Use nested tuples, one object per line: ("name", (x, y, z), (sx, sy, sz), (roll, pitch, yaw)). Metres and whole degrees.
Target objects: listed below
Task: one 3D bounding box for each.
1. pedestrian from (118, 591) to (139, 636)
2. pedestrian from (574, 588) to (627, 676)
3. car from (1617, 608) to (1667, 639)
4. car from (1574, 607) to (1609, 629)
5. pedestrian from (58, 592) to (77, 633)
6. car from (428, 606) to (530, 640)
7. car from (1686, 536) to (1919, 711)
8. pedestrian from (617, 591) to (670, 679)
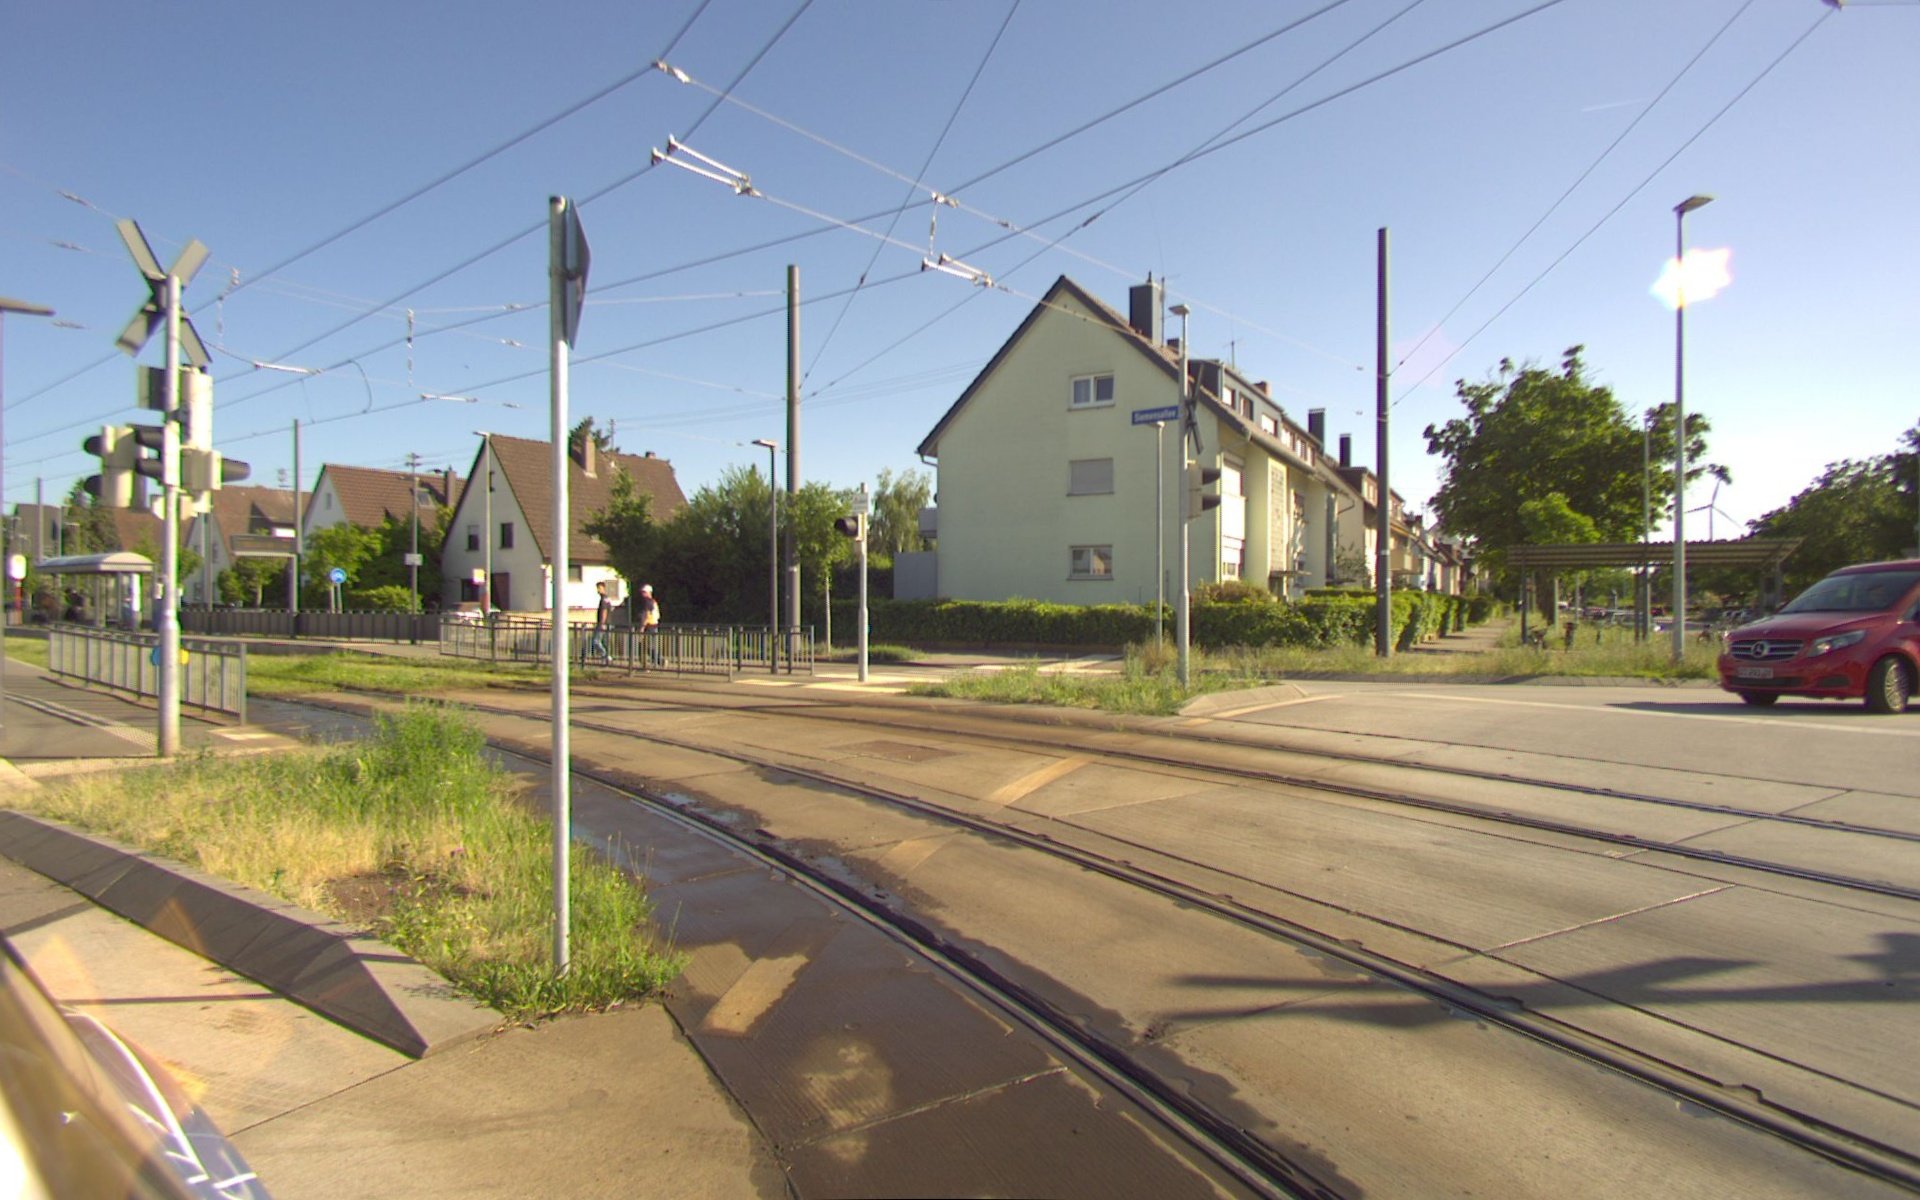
("pedestrian", (-32.686, 0.529, 39.777), (0.613, 1.766, 0.442), (0, -1, -35))
("pedestrian", (-7.535, 0.647, 21.216), (0.817, 1.783, 0.687), (1, 2, 11))
("car", (34.239, 1.156, 50.866), (1.820, 1.403, 3.751), (0, 1, 30))
("car", (41.161, 1.155, 66.065), (1.820, 1.403, 3.828), (0, -1, 30))
("pedestrian", (-38.664, 0.558, 43.839), (0.542, 1.766, 0.528), (-1, -1, 35))
("car", (-22.825, 1.040, 48.135), (1.994, 1.546, 3.947), (-1, -1, 32))
("car", (12.465, 0.233, 12.862), (5.158, 1.996, 2.002), (-1, 0, -5))
("pedestrian", (-6.273, 0.676, 20.096), (0.720, 1.673, 0.794), (1, 2, 11))
